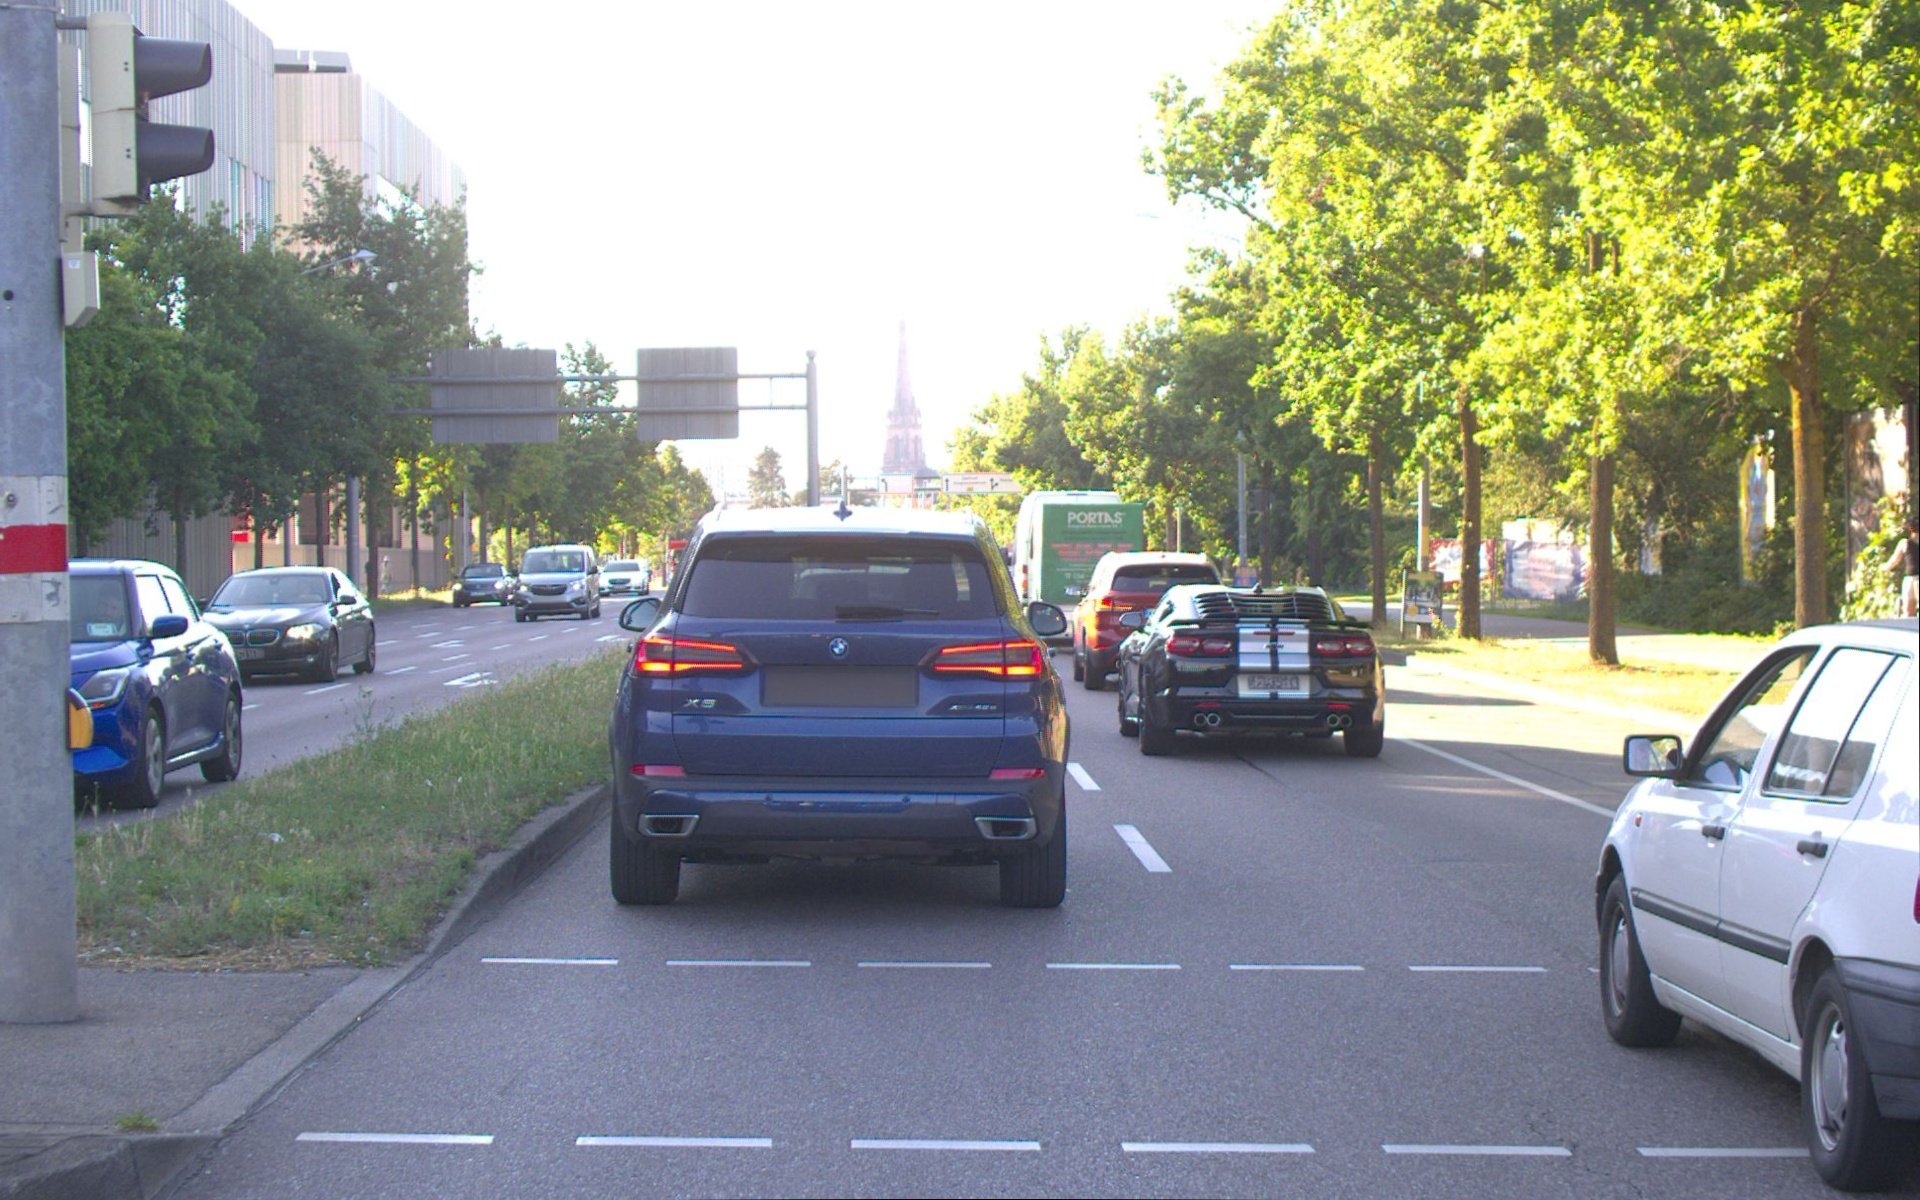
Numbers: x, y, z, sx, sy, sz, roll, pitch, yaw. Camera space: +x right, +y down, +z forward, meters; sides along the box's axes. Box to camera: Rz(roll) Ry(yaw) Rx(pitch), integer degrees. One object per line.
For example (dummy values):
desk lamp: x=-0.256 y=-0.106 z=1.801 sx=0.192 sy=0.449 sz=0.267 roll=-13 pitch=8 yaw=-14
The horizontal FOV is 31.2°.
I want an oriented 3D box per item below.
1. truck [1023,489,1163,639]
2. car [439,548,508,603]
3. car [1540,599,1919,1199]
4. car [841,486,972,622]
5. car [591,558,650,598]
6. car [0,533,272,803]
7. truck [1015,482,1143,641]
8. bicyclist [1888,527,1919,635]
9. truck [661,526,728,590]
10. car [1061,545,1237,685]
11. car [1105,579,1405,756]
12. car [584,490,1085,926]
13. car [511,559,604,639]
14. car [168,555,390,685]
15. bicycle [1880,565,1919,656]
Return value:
truck: x=2.100 y=-0.551 z=55.346 sx=1.996 sy=2.307 sz=4.000 roll=1 pitch=0 yaw=-1
car: x=-16.583 y=-0.811 z=117.341 sx=1.756 sy=1.699 sz=4.494 roll=-4 pitch=0 yaw=-2
car: x=2.839 y=0.723 z=9.714 sx=1.578 sy=1.408 sz=4.062 roll=1 pitch=0 yaw=-2
car: x=-1.107 y=-0.871 z=68.368 sx=2.136 sy=2.567 sz=5.088 roll=1 pitch=0 yaw=-6
car: x=-13.810 y=-0.890 z=139.965 sx=1.993 sy=1.447 sz=4.715 roll=-4 pitch=0 yaw=-2
car: x=-5.503 y=0.411 z=20.915 sx=1.702 sy=1.447 sz=3.857 roll=-4 pitch=0 yaw=1
truck: x=2.046 y=-0.640 z=60.068 sx=1.996 sy=2.659 sz=4.000 roll=1 pitch=0 yaw=-1
bicyclist: x=11.841 y=-0.229 z=42.381 sx=0.543 sy=1.311 sz=0.835 roll=1 pitch=0 yaw=-1
truck: x=-17.889 y=-2.776 z=232.259 sx=3.988 sy=4.074 sz=11.449 roll=1 pitch=0 yaw=-2
car: x=2.207 y=0.176 z=41.038 sx=1.796 sy=1.553 sz=4.000 roll=1 pitch=0 yaw=-1
car: x=2.291 y=0.514 z=27.707 sx=1.993 sy=1.290 sz=4.000 roll=1 pitch=0 yaw=-1
car: x=-0.539 y=0.445 z=16.143 sx=1.993 sy=1.728 sz=4.533 roll=1 pitch=0 yaw=-1
car: x=-9.787 y=-0.020 z=83.890 sx=1.756 sy=1.771 sz=4.494 roll=-4 pitch=0 yaw=-2
car: x=-8.707 y=0.250 z=44.366 sx=1.993 sy=1.447 sz=4.799 roll=-4 pitch=0 yaw=-2
bicycle: x=11.854 y=0.134 z=42.348 sx=0.564 sy=1.108 sz=1.622 roll=1 pitch=0 yaw=-1
